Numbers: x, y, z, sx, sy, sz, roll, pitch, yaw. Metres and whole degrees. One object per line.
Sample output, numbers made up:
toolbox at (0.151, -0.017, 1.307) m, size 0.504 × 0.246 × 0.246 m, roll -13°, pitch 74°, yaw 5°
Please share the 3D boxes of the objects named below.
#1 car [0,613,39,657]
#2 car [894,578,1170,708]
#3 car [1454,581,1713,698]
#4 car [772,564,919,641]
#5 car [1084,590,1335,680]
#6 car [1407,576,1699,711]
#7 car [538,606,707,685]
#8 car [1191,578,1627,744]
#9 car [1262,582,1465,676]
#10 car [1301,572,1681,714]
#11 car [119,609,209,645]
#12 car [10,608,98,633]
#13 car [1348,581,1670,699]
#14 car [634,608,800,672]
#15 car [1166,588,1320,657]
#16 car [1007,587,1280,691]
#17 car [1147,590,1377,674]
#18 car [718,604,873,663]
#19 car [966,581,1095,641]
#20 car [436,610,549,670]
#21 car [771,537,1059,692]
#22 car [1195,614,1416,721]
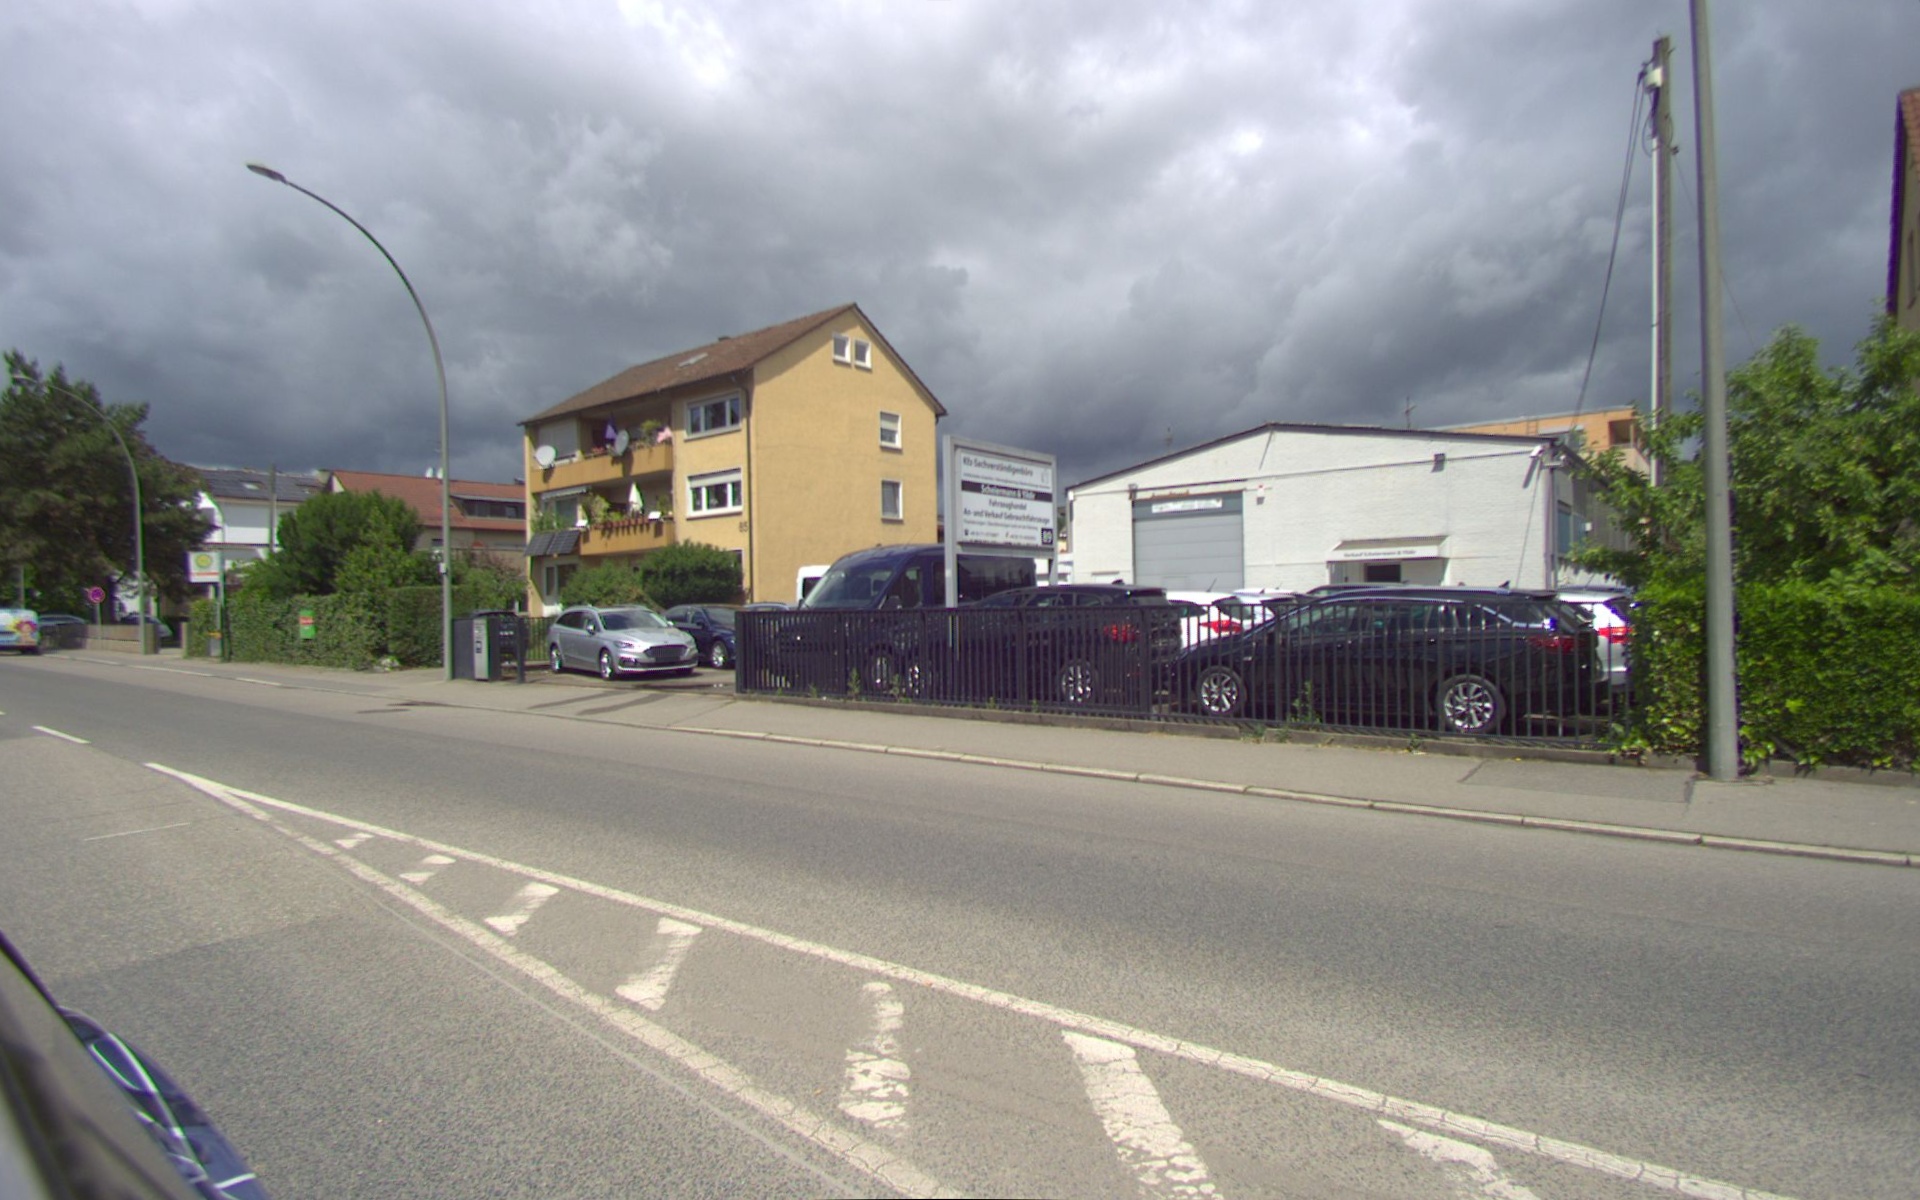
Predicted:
car at (-39.279, 1.415, 41.439) m, size 3.995 × 1.693 × 1.708 m, roll -1°, pitch 0°, yaw 39°
car at (0.964, 0.547, 14.579) m, size 3.619 × 1.633 × 1.790 m, roll -1°, pitch 0°, yaw 41°
car at (11.970, 0.692, 19.544) m, size 3.998 × 2.029 × 1.973 m, roll -1°, pitch 0°, yaw 41°
car at (-3.289, 0.069, 28.730) m, size 3.998 × 2.029 × 1.973 m, roll -1°, pitch 0°, yaw 41°
car at (4.356, 0.572, 17.997) m, size 3.998 × 1.423 × 1.716 m, roll -1°, pitch 0°, yaw 41°
car at (10.014, 0.660, 17.242) m, size 3.998 × 2.029 × 1.973 m, roll -1°, pitch 0°, yaw 41°
car at (-7.273, 0.887, 21.581) m, size 1.861 × 1.470 × 4.356 m, roll -2°, pitch 1°, yaw -41°
car at (4.810, 0.563, 11.132) m, size 4.040 × 1.494 × 1.840 m, roll -1°, pitch 0°, yaw 40°
car at (9.390, 0.631, 23.705) m, size 3.998 × 2.029 × 1.973 m, roll -1°, pitch 0°, yaw 41°
car at (6.746, 0.477, 13.066) m, size 3.998 × 1.552 × 1.973 m, roll -1°, pitch 0°, yaw 41°
car at (-46.352, 1.566, 58.957) m, size 3.954 × 2.029 × 1.995 m, roll -1°, pitch 0°, yaw 9°
car at (-68.416, 1.520, 76.438) m, size 2.216 × 1.691 × 4.676 m, roll -1°, pitch 0°, yaw 39°
car at (8.287, 0.535, 15.451) m, size 3.998 × 1.560 × 1.973 m, roll -1°, pitch 0°, yaw 41°
car at (-5.783, 0.884, 23.901) m, size 3.998 × 1.352 × 1.861 m, roll -1°, pitch 0°, yaw 41°
car at (8.462, 0.648, 30.430) m, size 3.998 × 1.941 × 1.973 m, roll -1°, pitch 0°, yaw 41°
car at (2.872, 0.568, 16.323) m, size 3.998 × 1.470 × 1.795 m, roll -1°, pitch 0°, yaw 41°
car at (5.881, 0.576, 19.991) m, size 3.998 × 1.498 × 1.742 m, roll -1°, pitch 0°, yaw 41°
car at (-4.315, 0.822, 26.299) m, size 3.998 × 1.383 × 1.859 m, roll -1°, pitch 0°, yaw 41°
car at (2.377, 0.373, 34.633) m, size 3.998 × 1.941 × 1.973 m, roll -1°, pitch 0°, yaw 41°
car at (-14.072, 1.151, 30.389) m, size 3.520 × 1.678 × 1.807 m, roll -1°, pitch 0°, yaw 41°
car at (-0.637, 0.211, 18.364) m, size 2.104 × 2.402 × 5.293 m, roll -1°, pitch 0°, yaw 42°
car at (7.301, 1.324, 21.567) m, size 3.998 × 2.029 × 1.973 m, roll -1°, pitch 0°, yaw 41°
